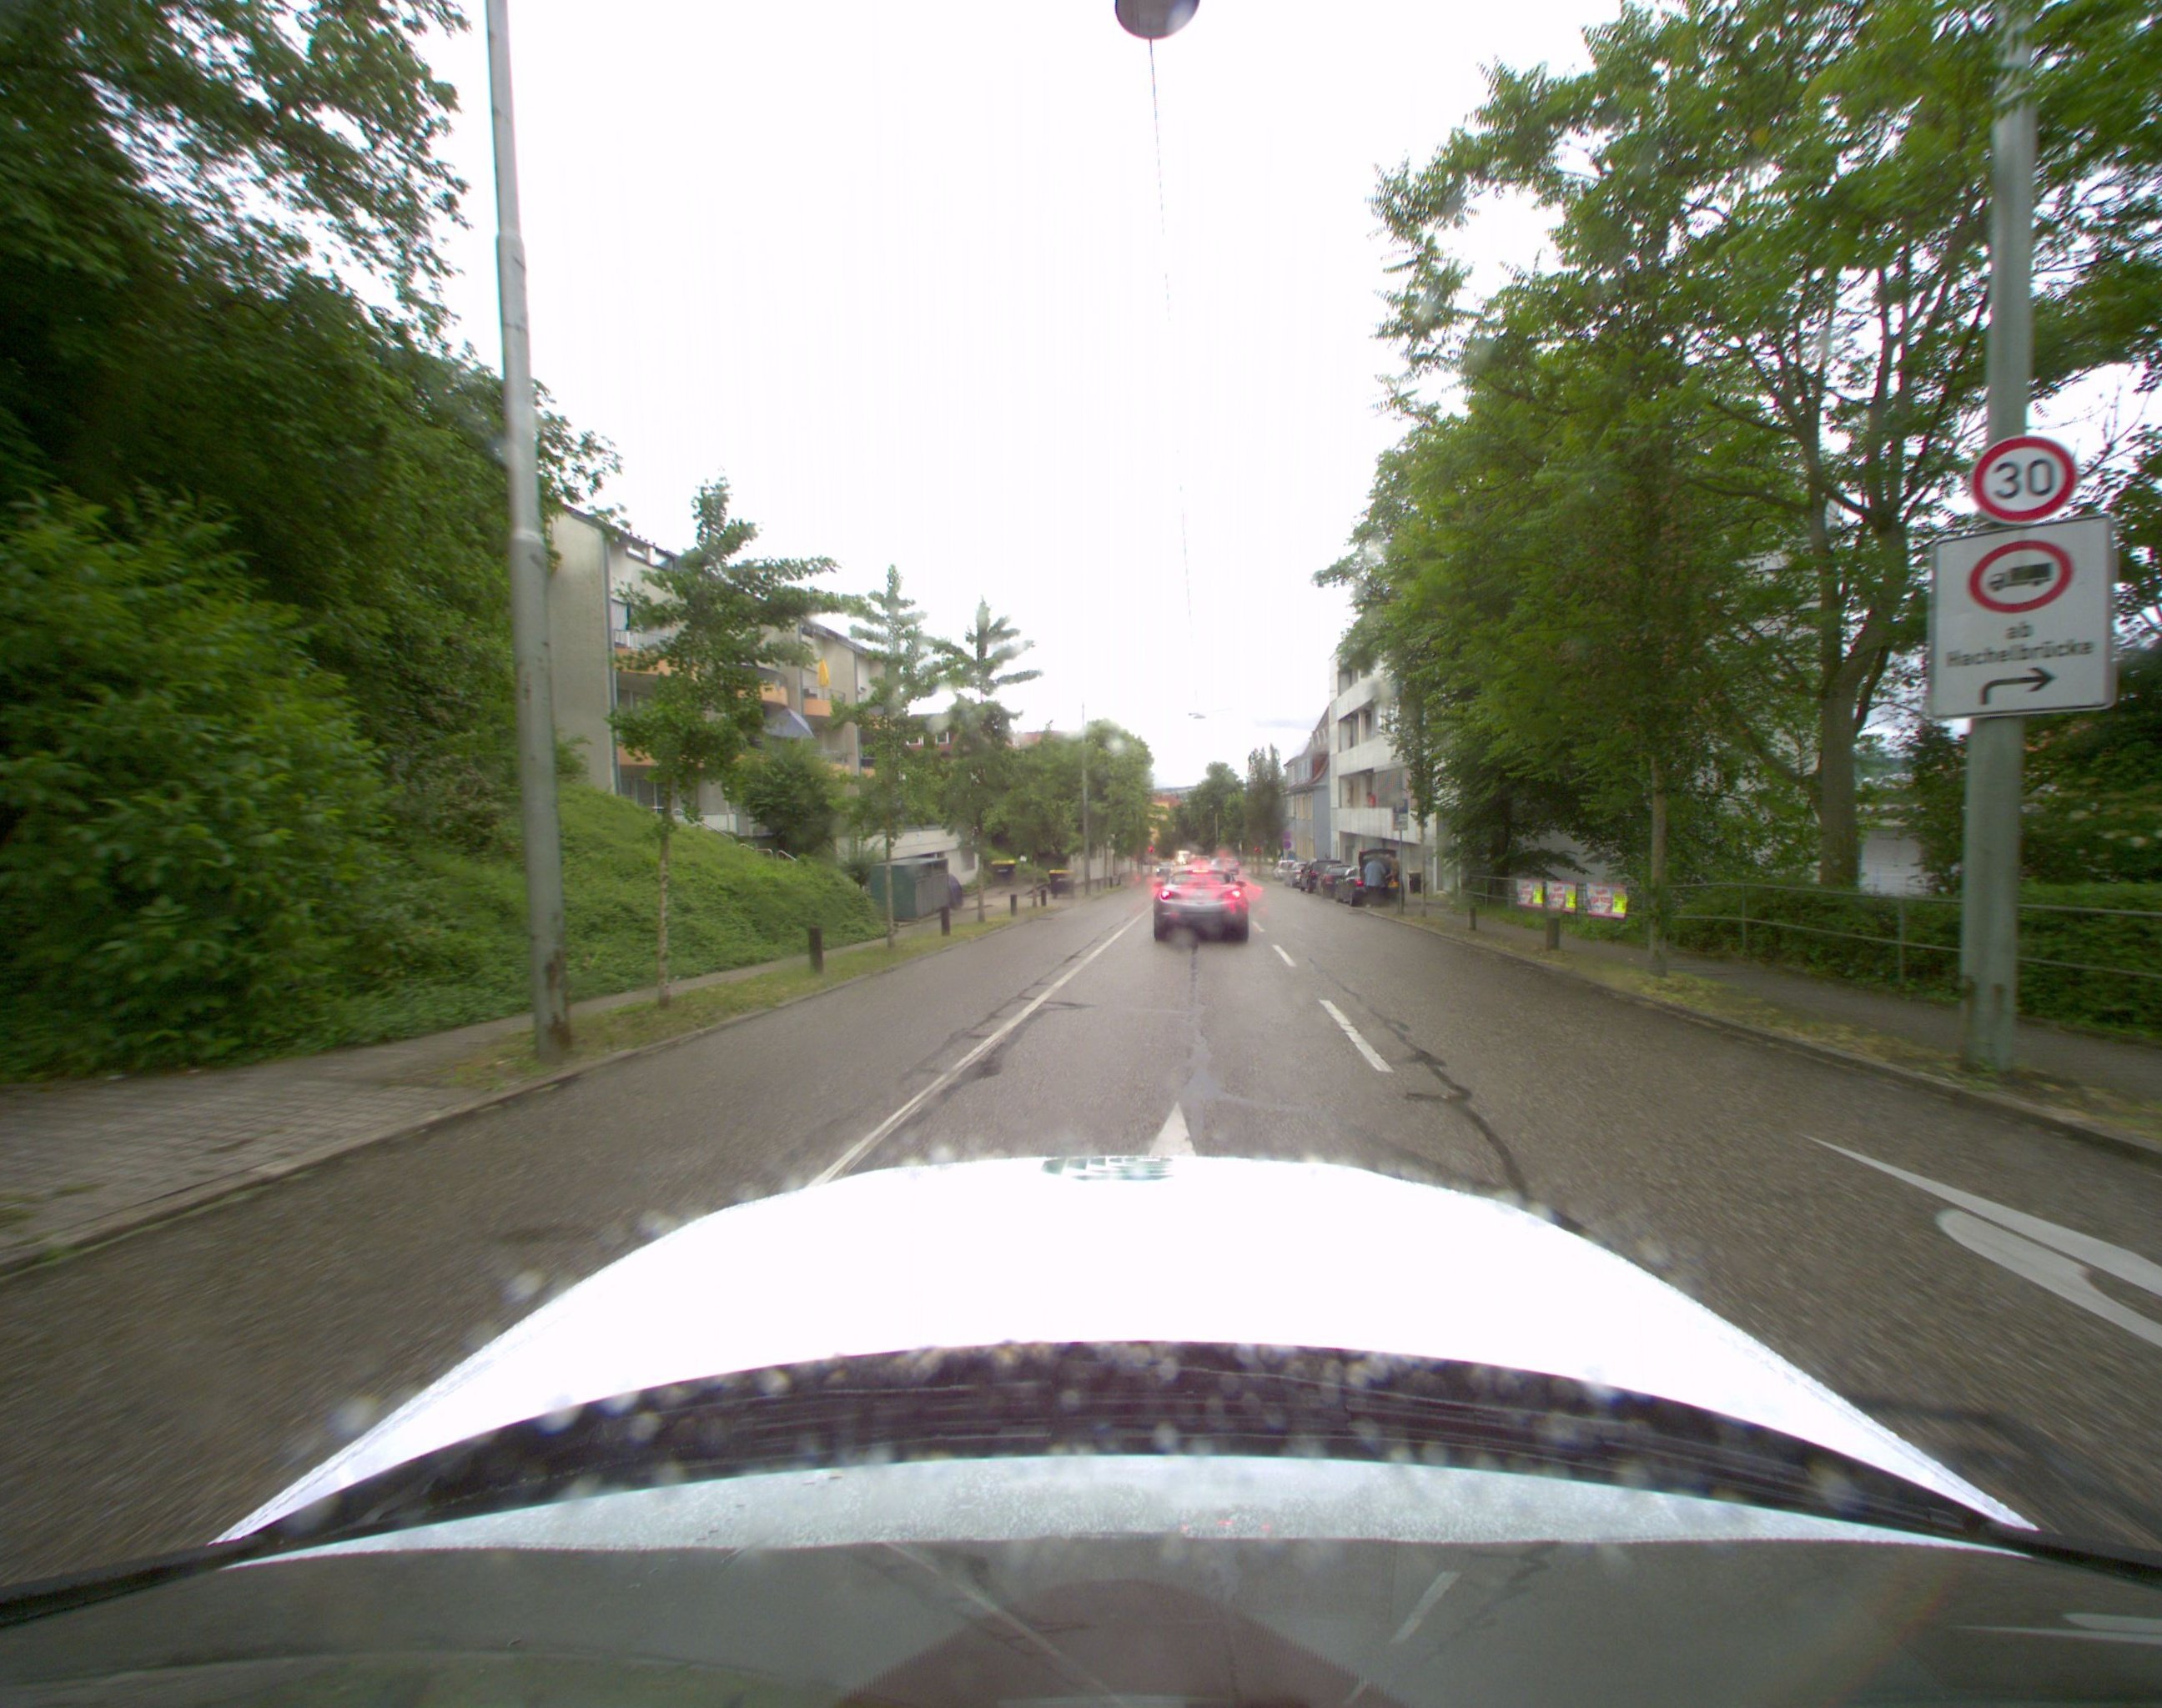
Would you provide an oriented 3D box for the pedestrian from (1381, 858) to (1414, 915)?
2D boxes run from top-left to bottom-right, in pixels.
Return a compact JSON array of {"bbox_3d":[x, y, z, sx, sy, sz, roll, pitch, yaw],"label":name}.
[{"bbox_3d":[10.560,1.070,27.168,0.687,1.836,0.662,-3,0,-14],"label":"pedestrian"}]

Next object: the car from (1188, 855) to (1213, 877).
[{"bbox_3d":[11.953,1.173,81.099,2.320,2.036,4.746,2,0,9],"label":"car"}]

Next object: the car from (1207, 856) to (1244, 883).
[{"bbox_3d":[8.806,0.931,49.875,1.951,1.472,3.958,2,1,6],"label":"car"}]

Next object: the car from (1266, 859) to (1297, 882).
[{"bbox_3d":[15.215,1.236,61.988,1.895,1.571,4.011,-2,0,9],"label":"car"}]

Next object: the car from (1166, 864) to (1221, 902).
[{"bbox_3d":[4.341,1.097,31.953,1.790,1.323,4.003,0,0,3],"label":"car"}]

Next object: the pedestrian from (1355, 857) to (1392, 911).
[{"bbox_3d":[9.745,0.979,27.121,0.738,1.724,0.759,-3,-1,-25],"label":"pedestrian"}]

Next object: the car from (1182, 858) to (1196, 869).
[{"bbox_3d":[16.942,1.485,127.223,1.982,1.536,4.319,2,1,9],"label":"car"}]

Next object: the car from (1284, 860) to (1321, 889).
[{"bbox_3d":[12.750,1.148,47.085,1.574,1.493,4.301,-2,0,9],"label":"car"}]

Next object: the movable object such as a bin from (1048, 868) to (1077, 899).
[{"bbox_3d":[-0.855,1.373,37.795,1.265,1.387,0.490,0,0,6],"label":"movable object such as a bin"}]

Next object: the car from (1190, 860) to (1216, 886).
[{"bbox_3d":[9.245,1.442,61.970,1.759,1.781,3.984,2,0,7],"label":"car"}]

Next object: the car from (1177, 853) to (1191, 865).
[{"bbox_3d":[17.055,0.848,134.615,1.982,1.784,4.010,2,0,9],"label":"car"}]

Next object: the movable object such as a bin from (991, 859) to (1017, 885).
[{"bbox_3d":[-4.146,0.979,43.873,1.265,1.387,0.490,0,0,6],"label":"movable object such as a bin"}]

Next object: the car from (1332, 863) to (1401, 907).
[{"bbox_3d":[10.246,1.075,29.452,1.495,1.435,4.008,-2,-1,7],"label":"car"}]

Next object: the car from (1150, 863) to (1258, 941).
[{"bbox_3d":[2.448,0.916,17.062,1.936,1.432,3.888,-1,-1,4],"label":"car"}]

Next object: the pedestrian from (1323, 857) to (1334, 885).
[{"bbox_3d":[15.934,1.076,52.426,0.641,1.784,0.543,-1,0,9],"label":"pedestrian"}]

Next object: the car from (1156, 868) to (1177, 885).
[{"bbox_3d":[8.715,2.278,82.698,1.839,1.469,4.098,-4,-2,9],"label":"car"}]

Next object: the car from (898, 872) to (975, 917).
[{"bbox_3d":[-5.398,1.481,30.919,1.733,1.456,3.890,-4,-1,6],"label":"car"}]

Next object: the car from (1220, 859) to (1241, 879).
[{"bbox_3d":[16.362,1.583,89.263,1.982,2.036,4.746,2,0,9],"label":"car"}]

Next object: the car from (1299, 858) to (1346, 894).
[{"bbox_3d":[11.749,1.049,39.813,1.675,1.571,4.011,-2,0,9],"label":"car"}]

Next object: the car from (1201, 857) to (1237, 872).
[{"bbox_3d":[17.087,1.294,100.830,3.865,1.479,1.816,-4,-1,-21],"label":"car"}]

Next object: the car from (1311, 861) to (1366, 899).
[{"bbox_3d":[10.998,1.084,34.991,1.671,1.464,4.011,-2,0,9],"label":"car"}]
